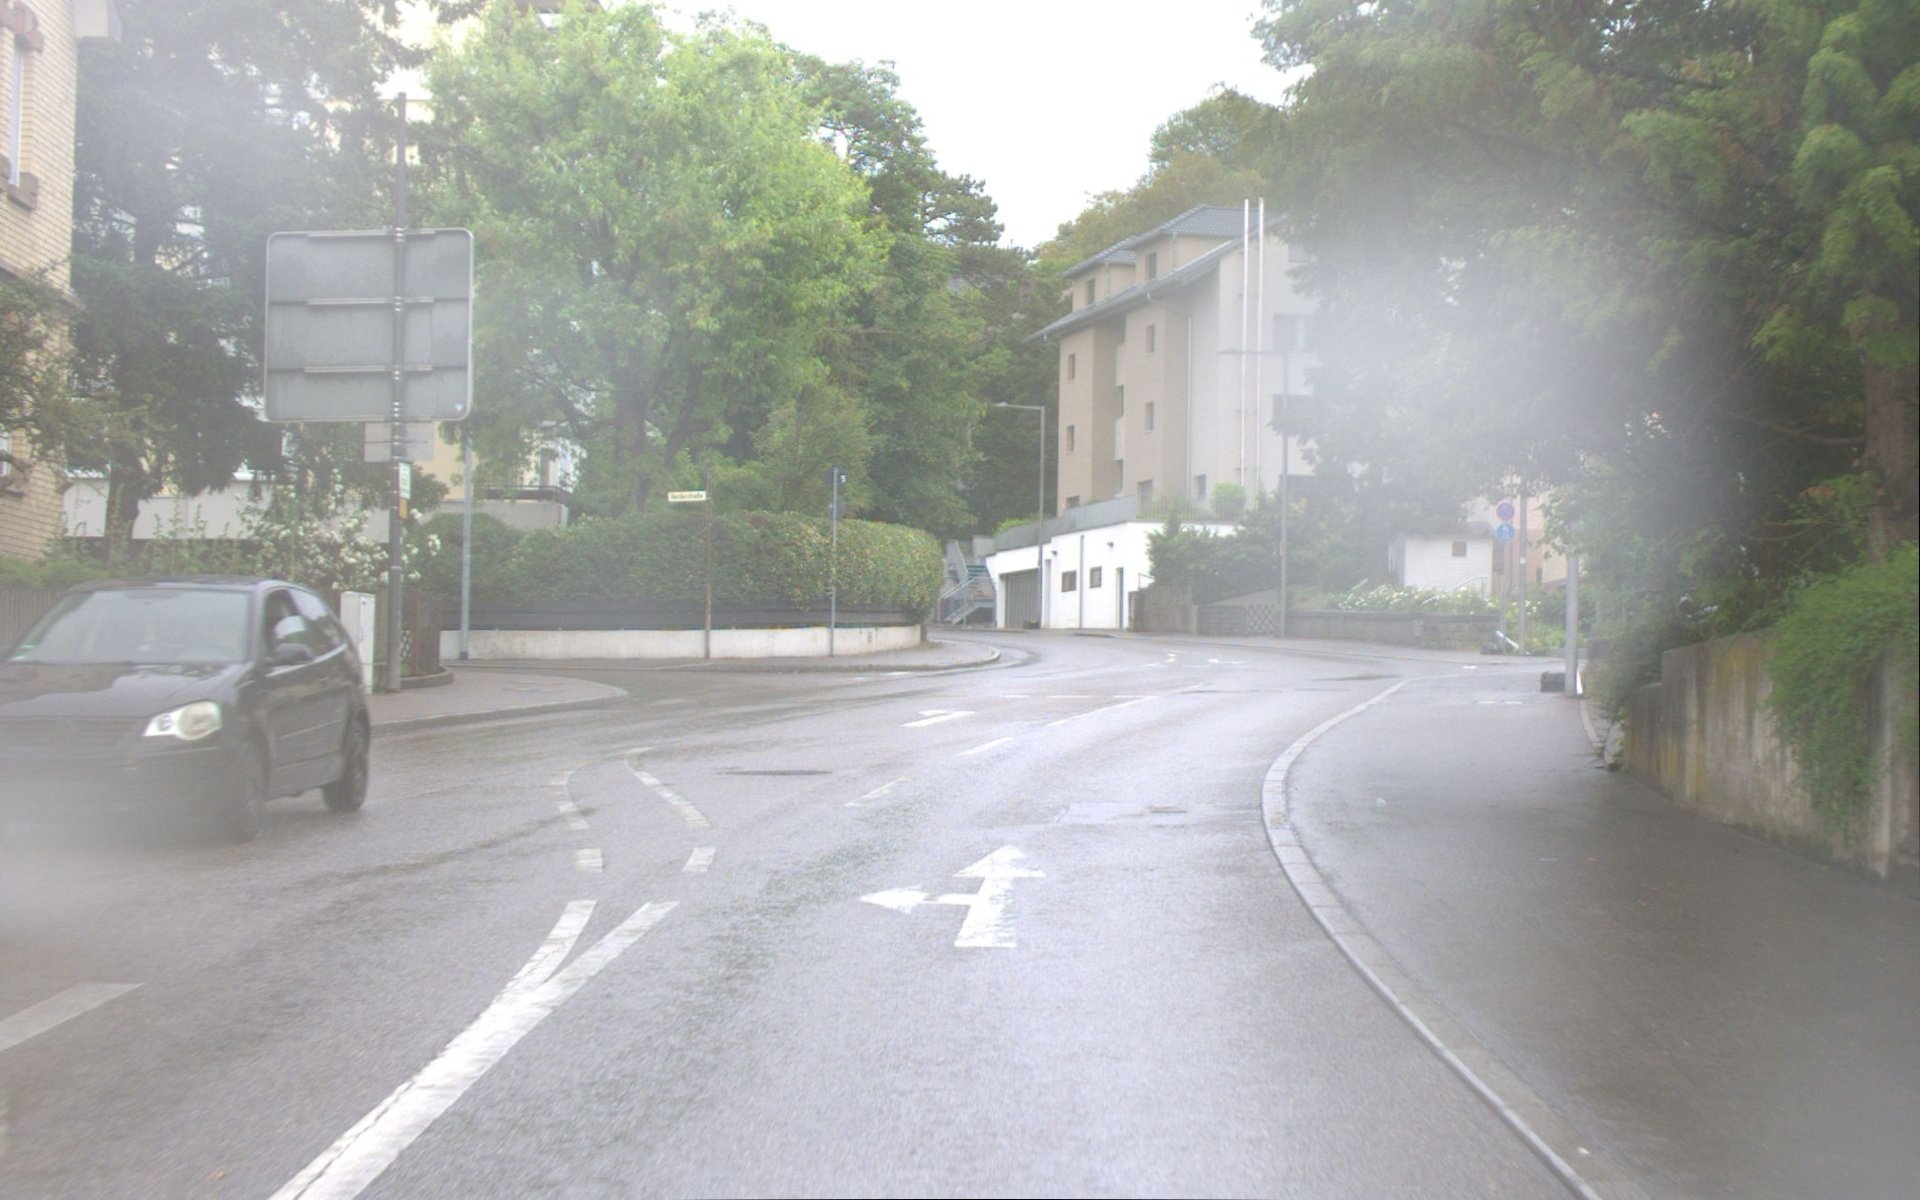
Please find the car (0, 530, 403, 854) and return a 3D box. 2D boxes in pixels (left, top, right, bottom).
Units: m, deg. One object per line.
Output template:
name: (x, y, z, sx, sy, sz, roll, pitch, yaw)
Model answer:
car: (-4.524, 0.452, 19.631, 1.745, 1.566, 3.813, 4, 0, 4)
